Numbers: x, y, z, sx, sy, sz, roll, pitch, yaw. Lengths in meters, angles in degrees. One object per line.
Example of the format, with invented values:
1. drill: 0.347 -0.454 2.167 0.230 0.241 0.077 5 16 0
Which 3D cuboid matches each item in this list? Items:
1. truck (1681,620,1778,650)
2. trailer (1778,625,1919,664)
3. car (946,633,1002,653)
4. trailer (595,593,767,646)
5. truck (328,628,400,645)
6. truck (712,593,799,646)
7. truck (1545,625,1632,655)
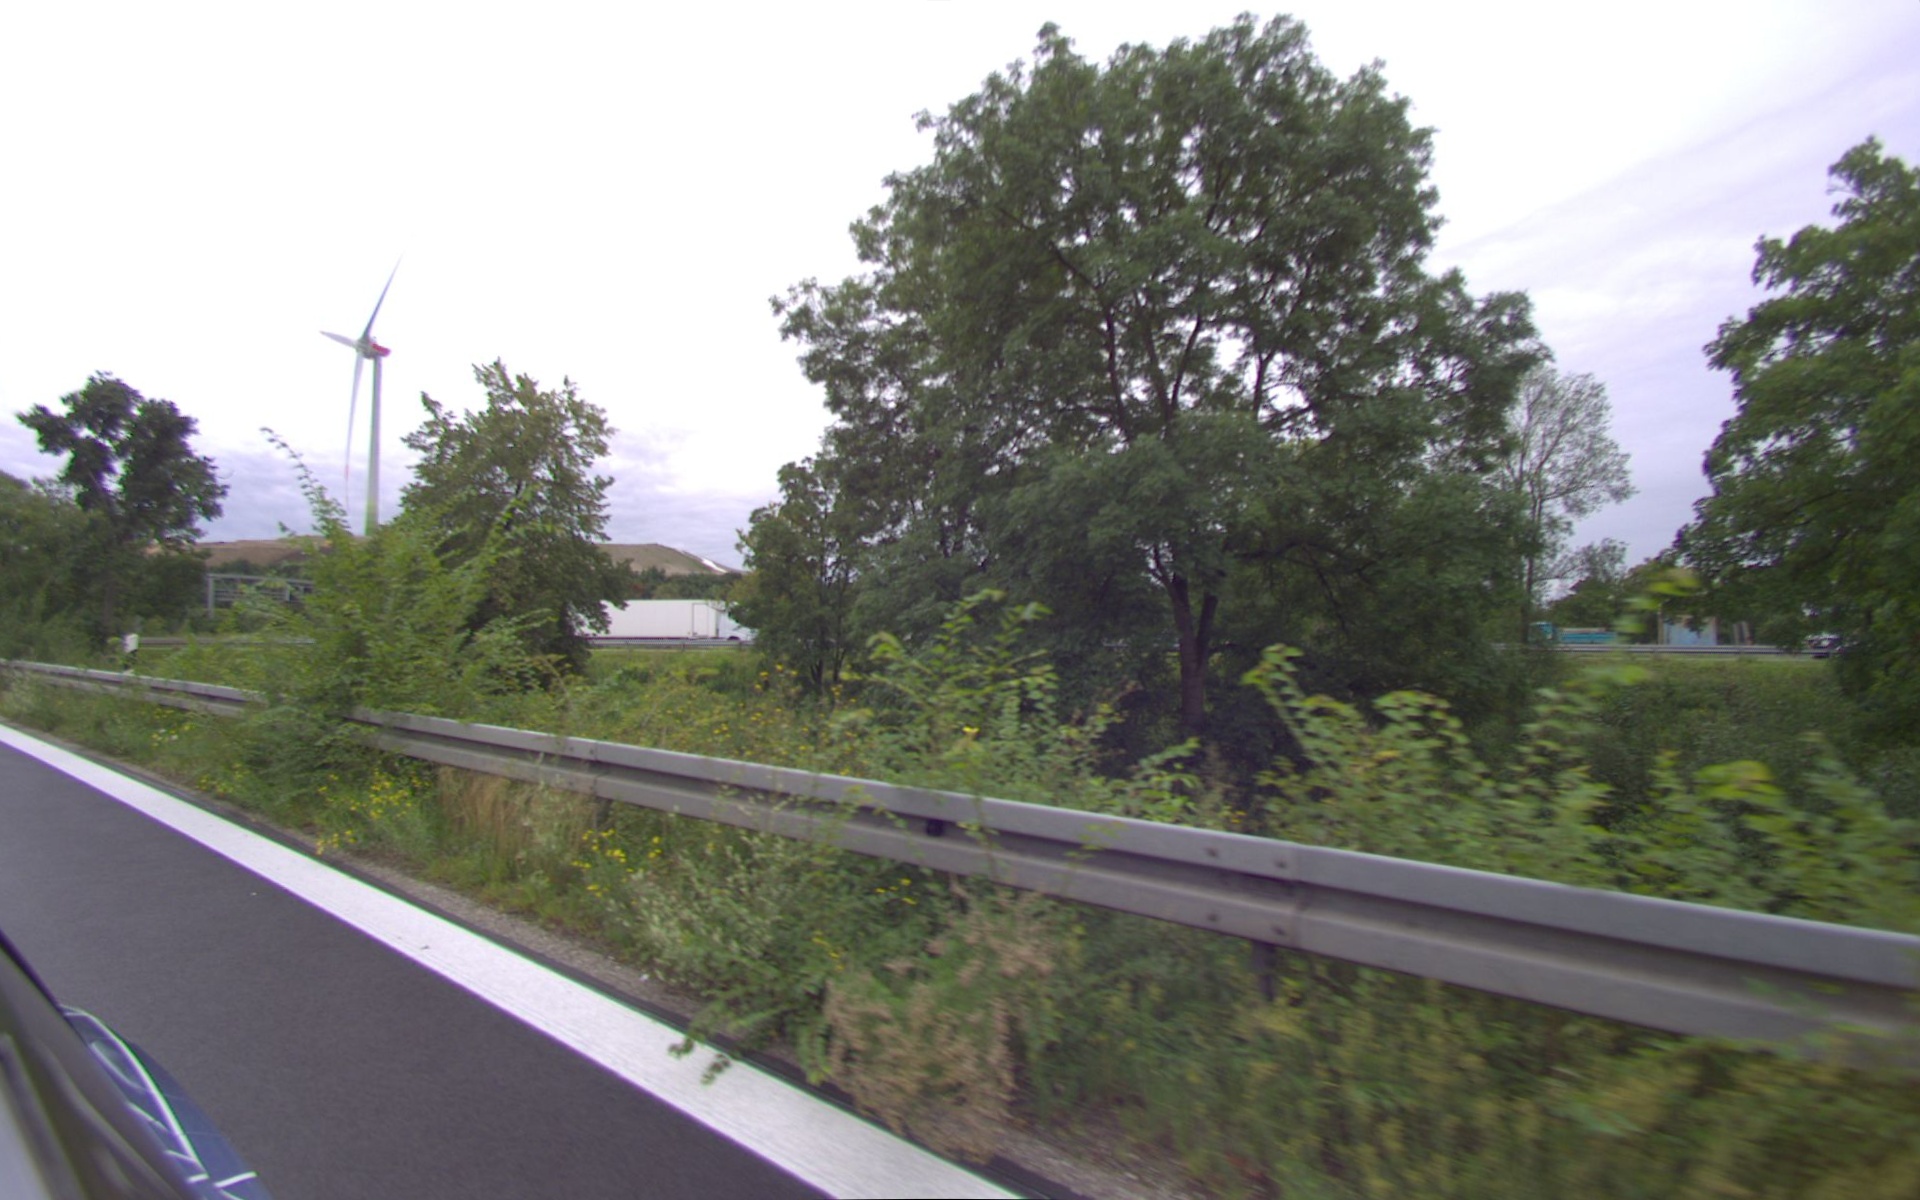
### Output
1. truck: 69.534 3.140 91.592 6.386 2.649 2.594 0 -2 13
2. trailer: 47.272 2.293 52.556 6.986 2.010 2.484 -1 -2 11
3. car: 1.154 3.514 82.769 4.435 1.663 1.899 -1 -2 9
4. trailer: -22.839 1.614 82.926 13.798 4.167 2.766 -1 -2 10
5. truck: -74.213 4.519 126.054 8.725 2.029 1.992 0 -2 13
6. truck: -16.505 1.610 81.768 6.374 4.167 2.766 -1 -2 10
7. truck: 58.091 3.692 93.655 6.383 2.649 2.245 0 -2 12
